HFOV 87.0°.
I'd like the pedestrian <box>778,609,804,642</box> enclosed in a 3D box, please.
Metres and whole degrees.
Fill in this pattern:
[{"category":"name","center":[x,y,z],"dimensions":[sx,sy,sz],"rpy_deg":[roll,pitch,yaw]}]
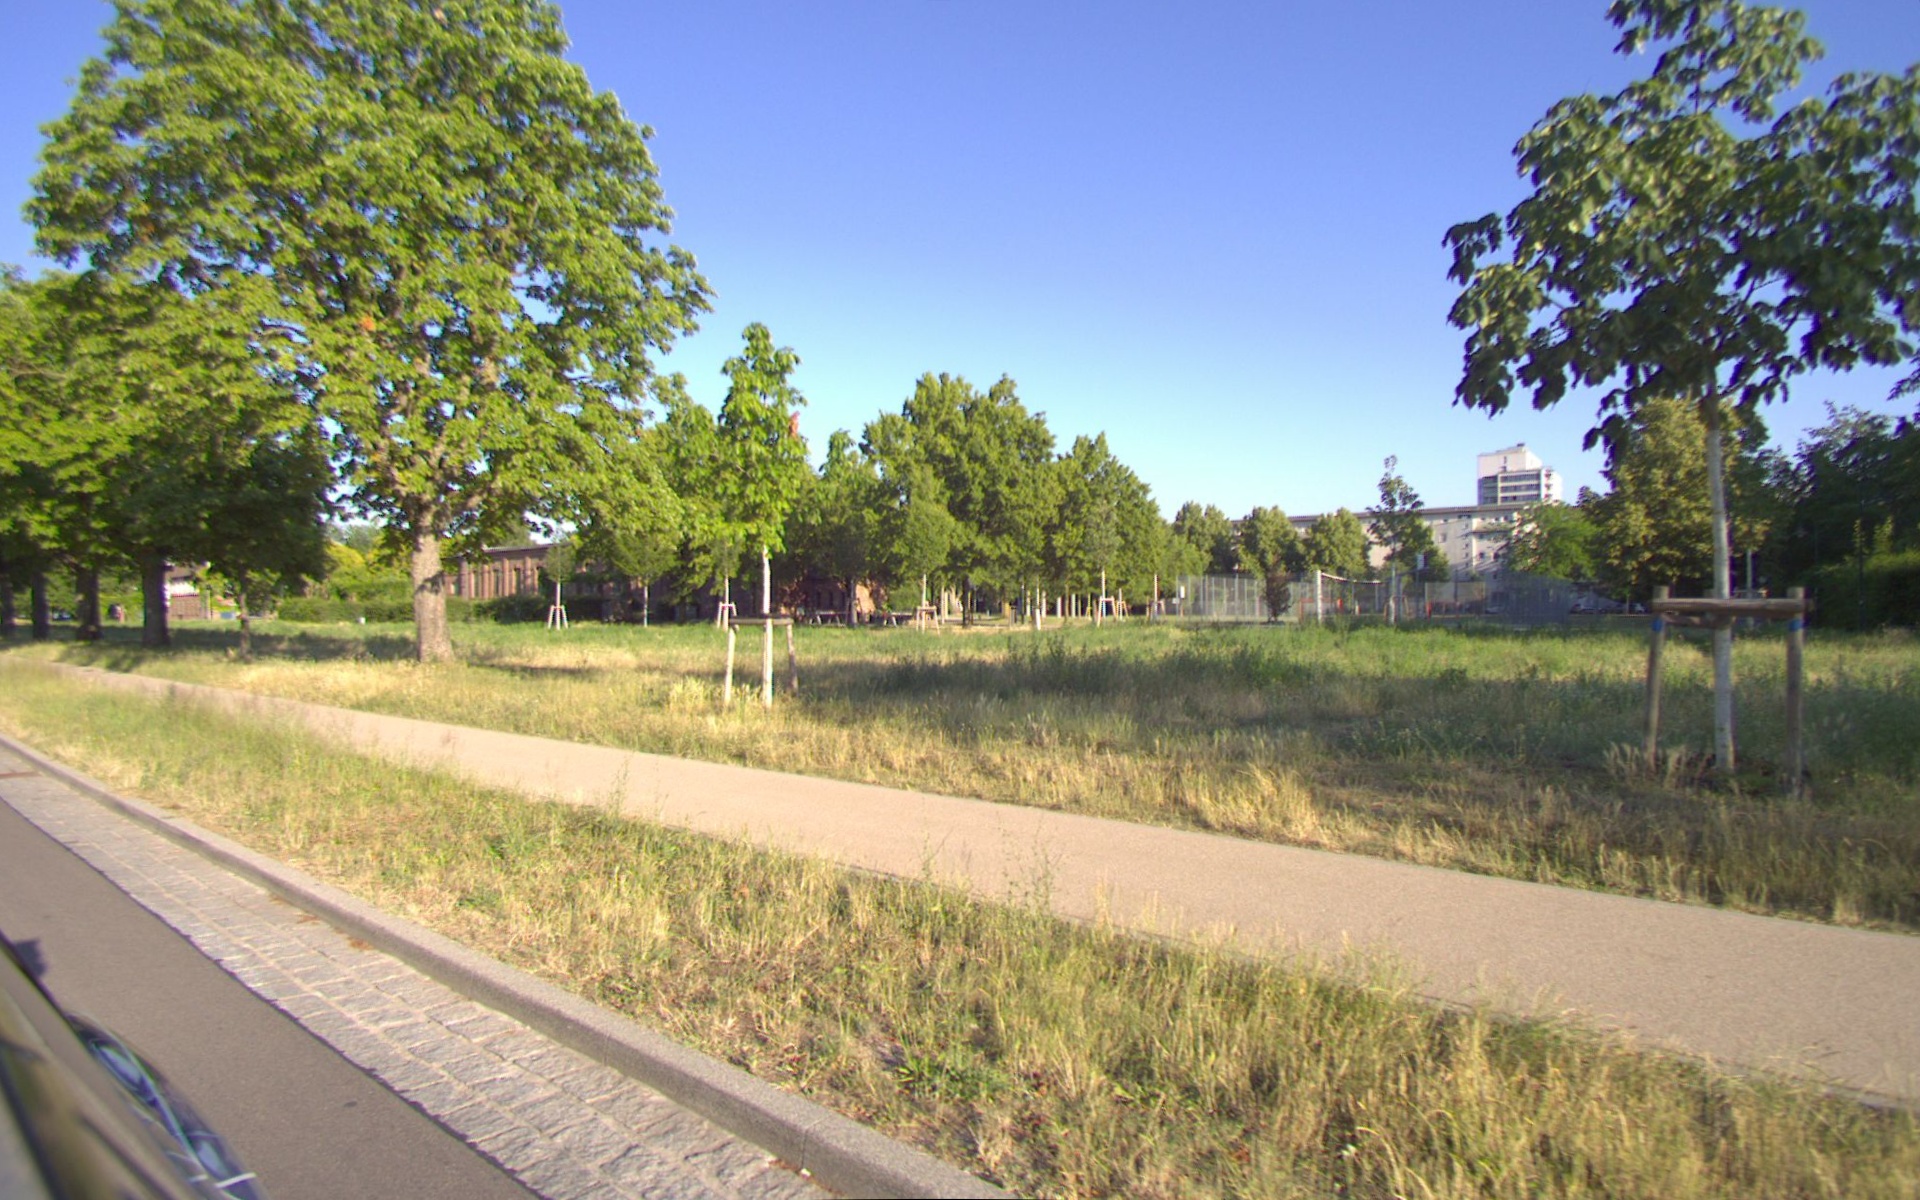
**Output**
[{"category":"pedestrian","center":[-9.771,1.469,58.593],"dimensions":[1.099,1.877,0.984],"rpy_deg":[0,-1,-44]}]

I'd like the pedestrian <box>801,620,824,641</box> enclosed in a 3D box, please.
[{"category":"pedestrian","center":[-9.257,1.907,63.612],"dimensions":[0.980,1.305,1.104],"rpy_deg":[-1,-1,31]}]
